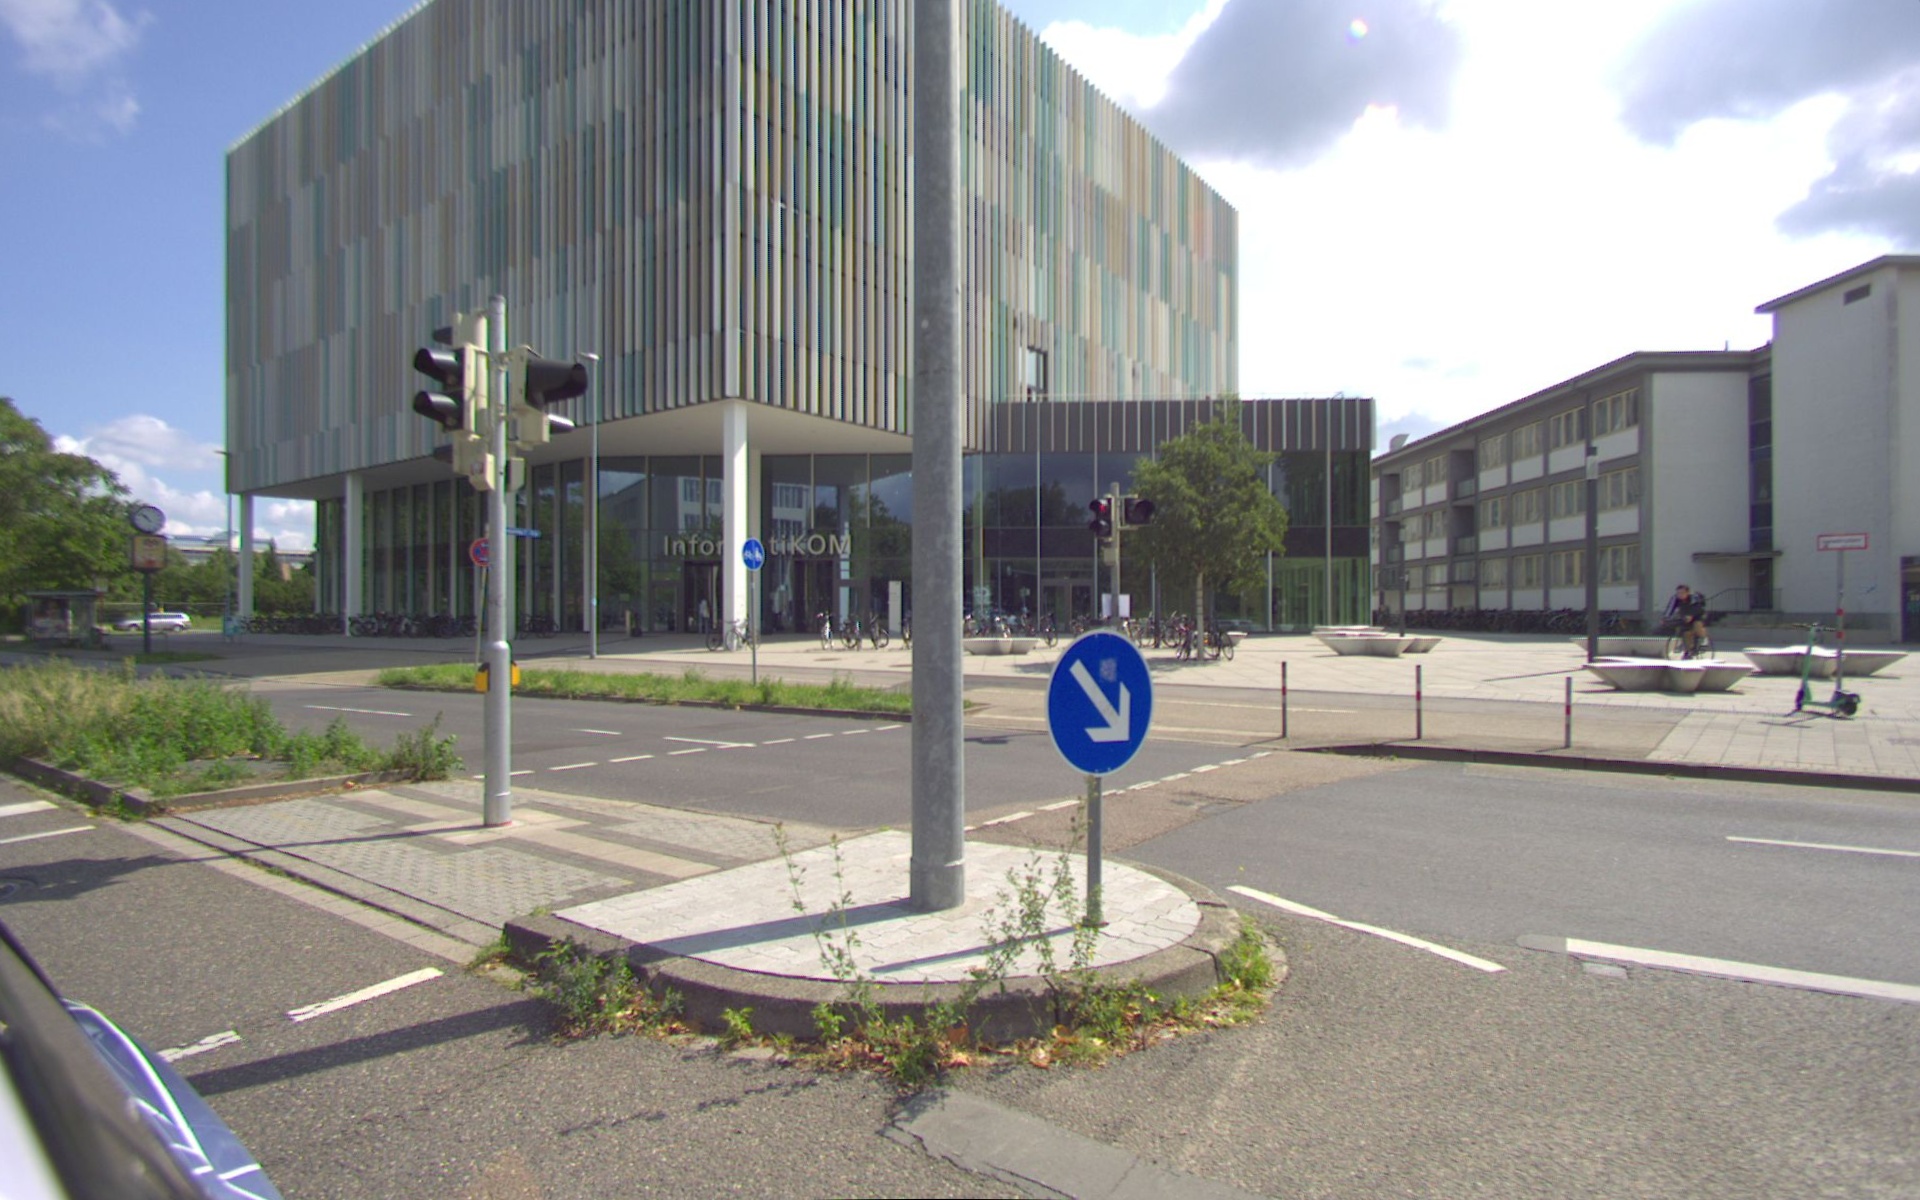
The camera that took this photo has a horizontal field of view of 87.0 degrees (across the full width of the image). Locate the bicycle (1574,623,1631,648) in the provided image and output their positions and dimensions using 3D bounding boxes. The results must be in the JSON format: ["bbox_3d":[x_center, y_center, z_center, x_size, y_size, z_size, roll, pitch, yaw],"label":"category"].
[{"bbox_3d":[26.707,1.462,42.087,1.889,1.022,0.695,0,-1,8],"label":"bicycle"}]

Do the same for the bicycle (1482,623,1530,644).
[{"bbox_3d":[26.579,1.617,49.277,1.889,1.022,0.695,0,-1,8],"label":"bicycle"}]

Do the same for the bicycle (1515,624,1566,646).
[{"bbox_3d":[26.835,1.612,46.779,1.889,1.022,0.695,0,-1,8],"label":"bicycle"}]

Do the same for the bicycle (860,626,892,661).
[{"bbox_3d":[-2.798,1.412,33.457,0.710,1.105,2.224,0,-1,-13],"label":"bicycle"}]

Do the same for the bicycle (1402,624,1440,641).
[{"bbox_3d":[26.781,1.885,58.812,1.889,1.022,0.695,0,-1,8],"label":"bicycle"}]

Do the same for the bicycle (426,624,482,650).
[{"bbox_3d":[-22.449,1.632,44.960,0.720,1.105,2.194,-1,-1,32],"label":"bicycle"}]

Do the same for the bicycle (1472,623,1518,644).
[{"bbox_3d":[26.730,1.684,50.626,1.889,1.022,0.695,0,-1,8],"label":"bicycle"}]

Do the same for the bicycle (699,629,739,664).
[{"bbox_3d":[-7.783,1.478,32.641,0.540,1.105,1.636,1,-2,-41],"label":"bicycle"}]

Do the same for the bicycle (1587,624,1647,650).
[{"bbox_3d":[26.546,1.480,40.913,1.889,1.022,0.695,0,-1,8],"label":"bicycle"}]

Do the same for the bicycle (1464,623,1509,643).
[{"bbox_3d":[26.894,1.678,51.749,1.889,1.022,0.695,0,-1,8],"label":"bicycle"}]

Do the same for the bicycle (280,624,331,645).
[{"bbox_3d":[-35.161,1.860,54.371,0.720,1.098,2.194,-1,-1,32],"label":"bicycle"}]

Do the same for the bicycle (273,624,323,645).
[{"bbox_3d":[-35.878,1.866,54.866,0.720,1.105,2.194,-1,-1,32],"label":"bicycle"}]

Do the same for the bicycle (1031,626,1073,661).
[{"bbox_3d":[3.003,1.419,33.276,0.710,1.105,2.224,0,-1,-13],"label":"bicycle"}]

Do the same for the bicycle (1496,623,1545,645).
[{"bbox_3d":[26.662,1.611,48.133,1.889,1.022,0.695,0,-1,8],"label":"bicycle"}]

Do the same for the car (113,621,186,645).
[{"bbox_3d":[-59.619,2.387,74.528,1.644,1.699,3.947,-1,-2,39],"label":"car"}]

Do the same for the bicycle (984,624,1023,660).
[{"bbox_3d":[1.403,1.357,33.029,0.710,1.105,2.224,0,-1,-13],"label":"bicycle"}]

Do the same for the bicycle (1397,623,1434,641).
[{"bbox_3d":[27.096,1.903,60.232,1.889,1.022,0.695,0,-1,8],"label":"bicycle"}]

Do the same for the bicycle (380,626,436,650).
[{"bbox_3d":[-25.559,1.748,46.924,0.733,1.105,2.194,-1,-1,32],"label":"bicycle"}]

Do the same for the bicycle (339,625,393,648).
[{"bbox_3d":[-28.911,1.773,49.289,0.720,1.105,2.194,-1,-1,32],"label":"bicycle"}]

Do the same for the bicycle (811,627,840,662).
[{"bbox_3d":[-4.404,1.433,32.982,0.710,1.105,2.224,0,-1,-13],"label":"bicycle"}]

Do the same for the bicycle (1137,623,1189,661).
[{"bbox_3d":[6.570,1.336,32.869,0.734,1.199,2.324,0,-1,-13],"label":"bicycle"}]

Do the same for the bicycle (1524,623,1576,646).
[{"bbox_3d":[26.603,1.557,45.634,1.889,1.022,0.695,0,-1,8],"label":"bicycle"}]

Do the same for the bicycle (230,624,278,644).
[{"bbox_3d":[-40.588,1.948,58.212,0.720,1.105,2.194,-1,-1,32],"label":"bicycle"}]

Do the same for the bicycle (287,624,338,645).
[{"bbox_3d":[-34.498,1.825,53.953,0.720,1.105,2.194,-1,-1,32],"label":"bicycle"}]

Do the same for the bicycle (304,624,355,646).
[{"bbox_3d":[-32.927,1.808,52.868,0.720,1.105,2.194,-1,-1,32],"label":"bicycle"}]

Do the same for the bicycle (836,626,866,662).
[{"bbox_3d":[-3.599,1.423,33.207,0.710,1.105,2.224,0,-1,-13],"label":"bicycle"}]

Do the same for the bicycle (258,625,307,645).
[{"bbox_3d":[-37.776,1.947,56.441,0.720,1.105,2.194,-1,-1,32],"label":"bicycle"}]

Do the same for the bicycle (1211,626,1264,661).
[{"bbox_3d":[9.140,1.412,33.417,0.710,1.105,2.224,0,-1,-13],"label":"bicycle"}]

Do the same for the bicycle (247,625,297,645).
[{"bbox_3d":[-38.822,1.946,57.129,0.720,1.105,2.194,-1,-1,32],"label":"bicycle"}]

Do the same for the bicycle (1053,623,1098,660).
[{"bbox_3d":[3.793,1.346,33.324,0.734,1.146,2.324,0,-1,-13],"label":"bicycle"}]

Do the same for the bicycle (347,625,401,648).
[{"bbox_3d":[-28.171,1.740,48.674,0.720,1.105,2.194,-1,-1,32],"label":"bicycle"}]

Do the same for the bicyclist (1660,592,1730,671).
[{"bbox_3d":[14.162,0.601,19.512,0.930,1.475,0.634,0,-1,-18],"label":"bicyclist"}]

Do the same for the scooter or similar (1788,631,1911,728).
[{"bbox_3d":[11.427,0.988,13.053,0.498,1.166,1.496,-1,-1,12],"label":"scooter or similar"}]

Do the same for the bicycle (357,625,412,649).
[{"bbox_3d":[-27.178,1.730,47.828,0.720,1.105,2.194,-1,-1,32],"label":"bicycle"}]

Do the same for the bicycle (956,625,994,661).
[{"bbox_3d":[0.462,1.389,33.015,0.710,1.105,2.224,0,-1,-13],"label":"bicycle"}]

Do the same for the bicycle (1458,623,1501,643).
[{"bbox_3d":[27.130,1.703,52.878,1.889,1.022,0.695,0,-1,8],"label":"bicycle"}]

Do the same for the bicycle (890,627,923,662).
[{"bbox_3d":[-1.797,1.446,33.495,0.710,1.105,2.224,0,-1,-13],"label":"bicycle"}]

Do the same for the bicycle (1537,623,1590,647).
[{"bbox_3d":[26.535,1.526,44.522,1.889,1.022,0.695,0,-1,8],"label":"bicycle"}]

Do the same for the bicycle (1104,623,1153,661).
[{"bbox_3d":[5.487,1.351,33.174,0.734,1.199,2.324,0,-1,-13],"label":"bicycle"}]

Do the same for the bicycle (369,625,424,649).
[{"bbox_3d":[-26.376,1.719,47.382,0.720,1.105,2.194,-1,-1,32],"label":"bicycle"}]

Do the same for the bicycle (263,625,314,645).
[{"bbox_3d":[-36.759,1.905,55.419,0.720,1.105,2.194,-1,-1,32],"label":"bicycle"}]

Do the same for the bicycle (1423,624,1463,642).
[{"bbox_3d":[27.005,1.835,56.627,1.889,1.022,0.695,0,-1,8],"label":"bicycle"}]

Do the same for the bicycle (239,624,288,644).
[{"bbox_3d":[-39.611,1.947,57.599,0.720,1.105,2.194,-1,-1,32],"label":"bicycle"}]

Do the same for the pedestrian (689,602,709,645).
[{"bbox_3d":[-11.496,1.038,44.549,0.755,1.885,0.649,0,-1,-2],"label":"pedestrian"}]

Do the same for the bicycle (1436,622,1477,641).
[{"bbox_3d":[27.099,1.737,55.237,1.889,1.022,0.695,0,-1,8],"label":"bicycle"}]

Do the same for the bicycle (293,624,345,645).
[{"bbox_3d":[-33.823,1.816,53.427,0.720,1.105,2.194,-1,-1,32],"label":"bicycle"}]

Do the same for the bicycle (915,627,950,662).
[{"bbox_3d":[-0.941,1.442,33.506,0.710,1.105,2.224,0,-1,-13],"label":"bicycle"}]

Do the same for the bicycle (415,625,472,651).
[{"bbox_3d":[-23.242,1.693,45.581,0.753,1.105,2.194,-1,-1,32],"label":"bicycle"}]

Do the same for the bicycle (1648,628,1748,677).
[{"bbox_3d":[14.247,1.001,19.531,1.745,0.899,0.640,0,-1,-18],"label":"bicycle"}]

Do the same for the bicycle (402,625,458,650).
[{"bbox_3d":[-24.170,1.682,46.192,0.720,1.105,2.194,-1,-1,32],"label":"bicycle"}]

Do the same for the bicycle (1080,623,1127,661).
[{"bbox_3d":[4.673,1.361,33.162,0.734,1.199,2.324,0,-1,-13],"label":"bicycle"}]

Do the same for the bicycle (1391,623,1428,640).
[{"bbox_3d":[27.268,1.920,61.403,1.889,1.022,0.695,0,-1,8],"label":"bicycle"}]

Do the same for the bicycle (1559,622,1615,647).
[{"bbox_3d":[26.746,1.468,43.169,1.889,1.022,0.695,0,-1,8],"label":"bicycle"}]

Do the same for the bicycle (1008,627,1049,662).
[{"bbox_3d":[2.220,1.430,33.134,0.710,1.105,2.224,0,-1,-13],"label":"bicycle"}]

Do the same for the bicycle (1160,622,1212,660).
[{"bbox_3d":[7.372,1.326,33.146,0.734,1.199,2.324,0,-1,-13],"label":"bicycle"}]

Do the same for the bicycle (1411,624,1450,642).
[{"bbox_3d":[26.847,1.882,57.800,1.889,1.022,0.695,0,-1,8],"label":"bicycle"}]

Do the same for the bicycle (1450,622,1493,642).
[{"bbox_3d":[27.272,1.697,54.015,1.889,1.022,0.695,0,-1,8],"label":"bicycle"}]
